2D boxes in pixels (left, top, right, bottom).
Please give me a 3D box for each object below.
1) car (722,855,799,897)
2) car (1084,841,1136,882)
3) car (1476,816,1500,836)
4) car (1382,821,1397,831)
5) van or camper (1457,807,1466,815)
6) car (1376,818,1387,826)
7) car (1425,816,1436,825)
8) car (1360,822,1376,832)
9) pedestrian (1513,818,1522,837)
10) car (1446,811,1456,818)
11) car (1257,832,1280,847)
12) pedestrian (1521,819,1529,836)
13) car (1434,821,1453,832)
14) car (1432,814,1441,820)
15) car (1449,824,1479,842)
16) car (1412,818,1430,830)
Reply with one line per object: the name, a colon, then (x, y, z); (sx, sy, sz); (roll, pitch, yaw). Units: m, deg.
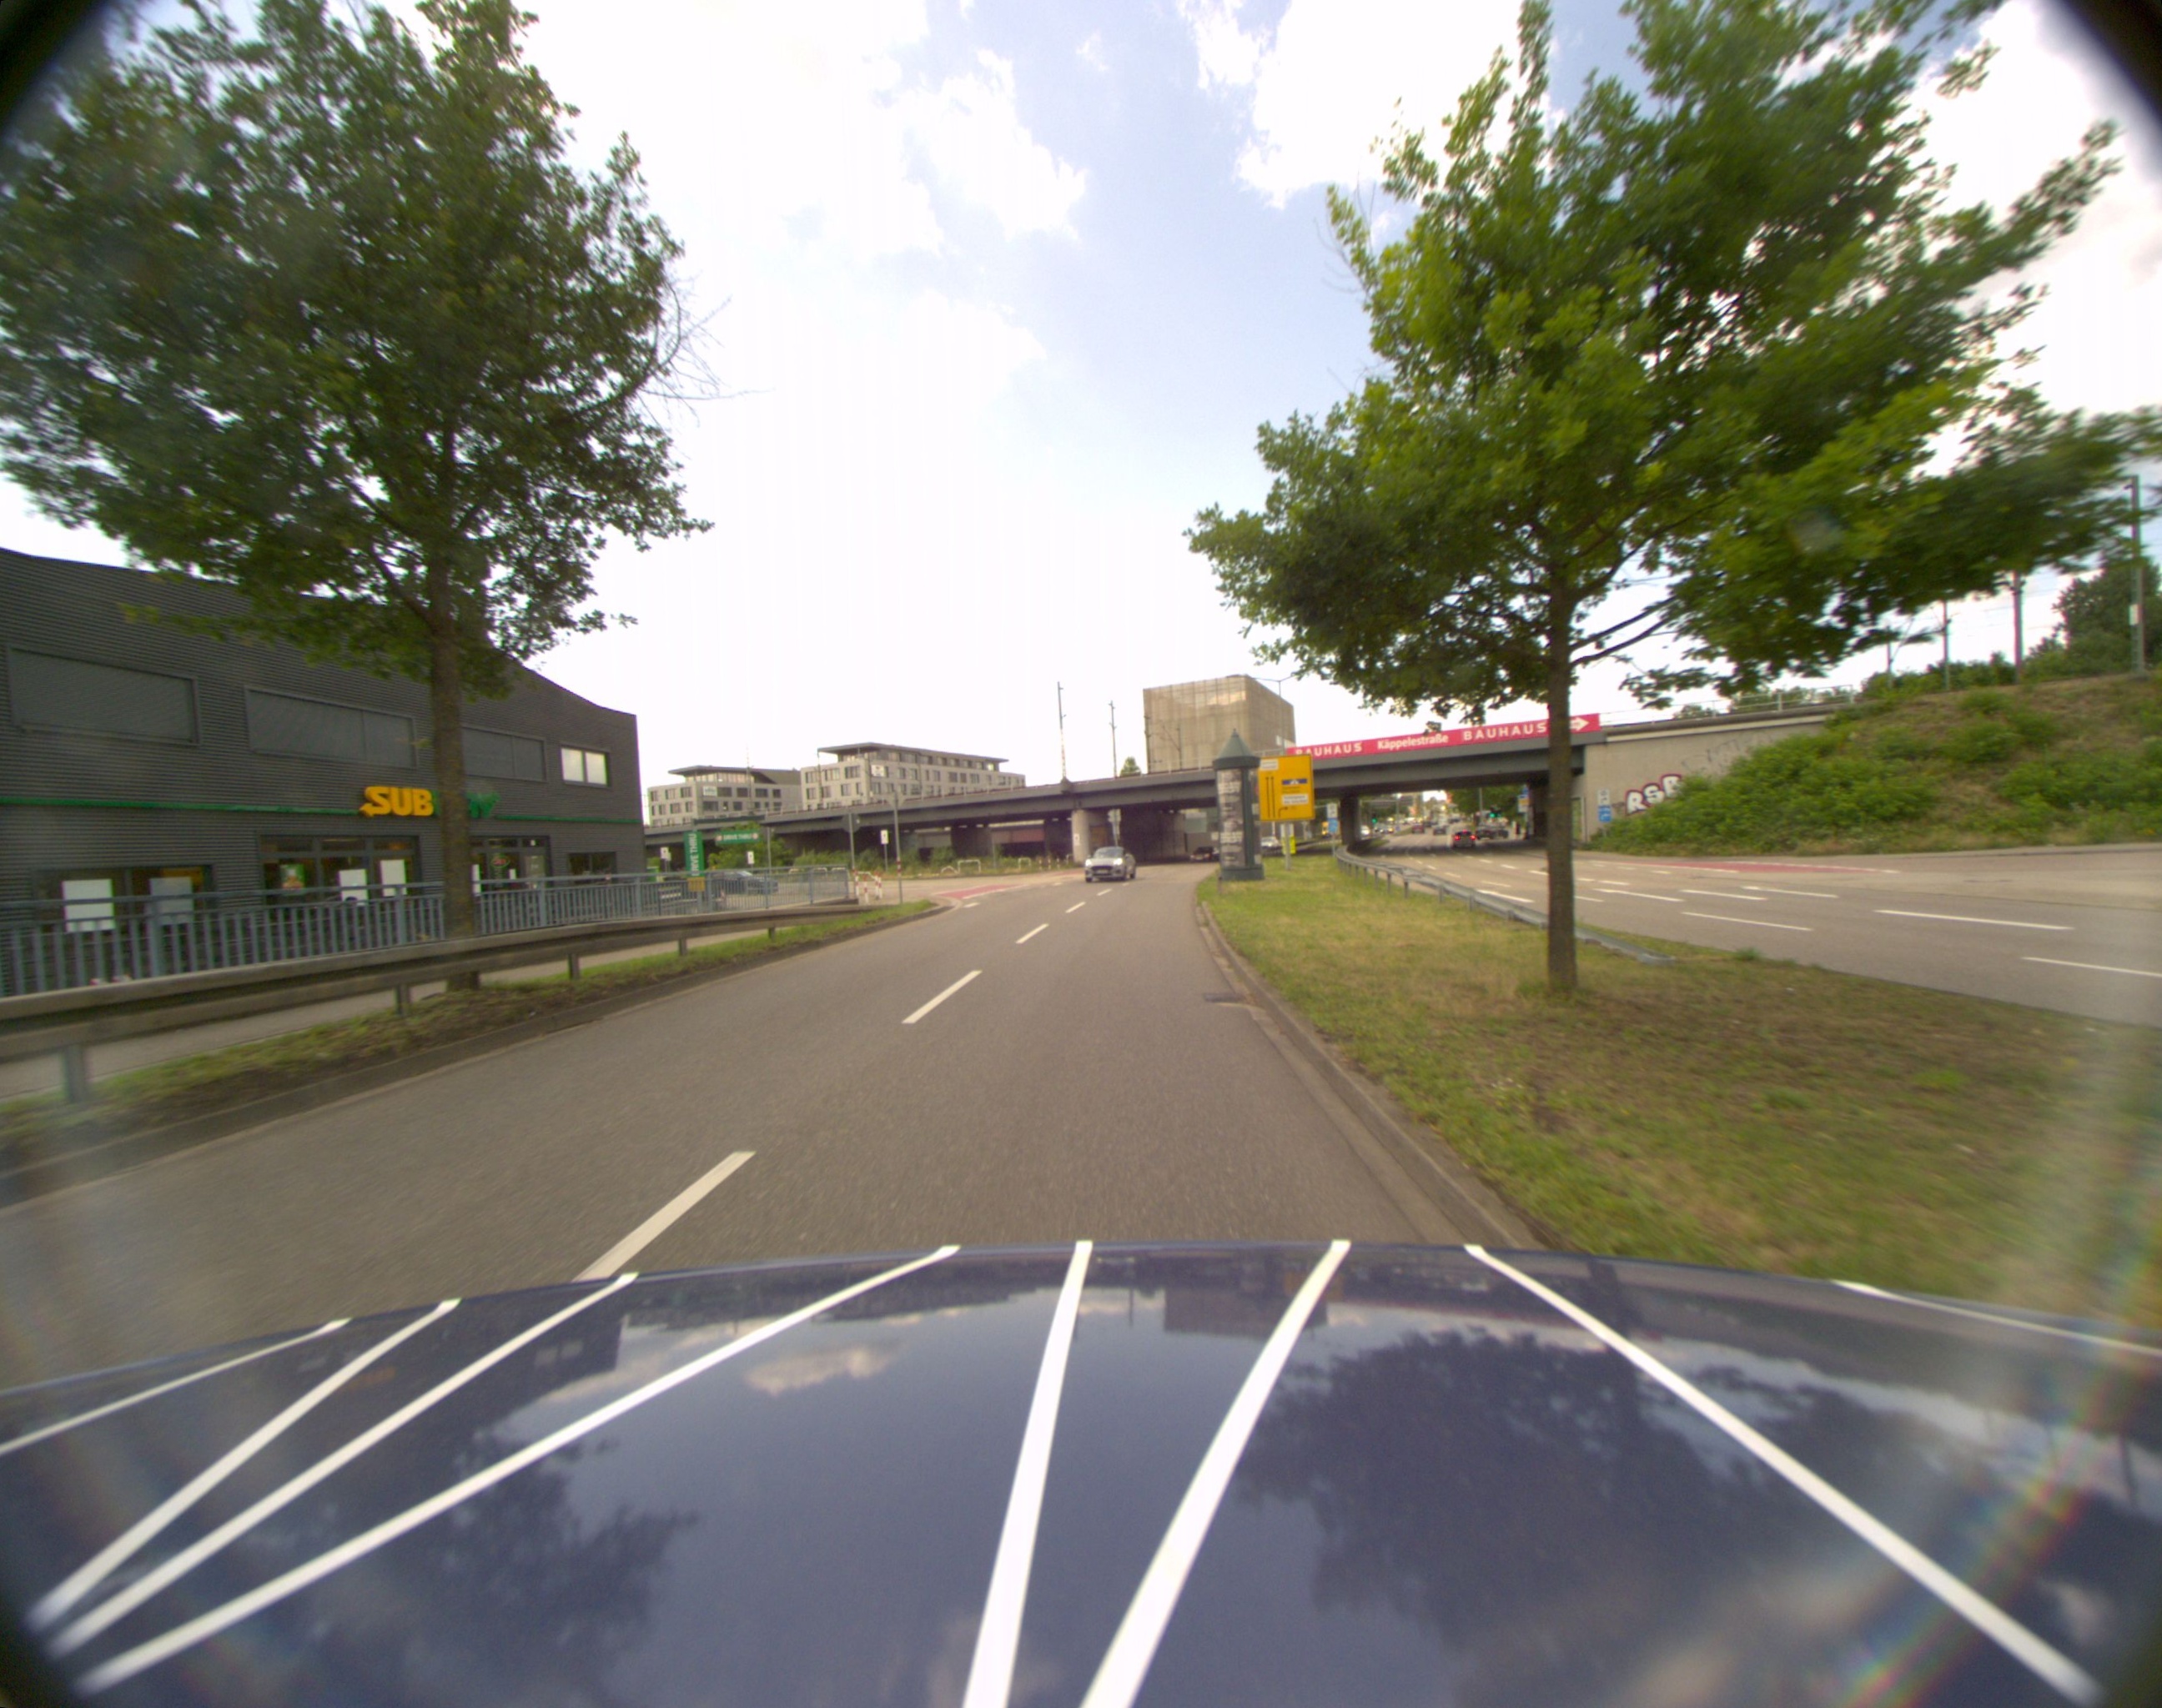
car: (-16.881, 1.169, 40.038); (3.871, 2.002, 1.757); (-2, 2, 33)
car: (1.394, 0.293, 34.764); (1.822, 1.565, 3.956); (-5, 1, 9)
car: (44.372, -3.069, 82.921); (1.995, 2.002, 4.342); (-2, 2, 25)
car: (51.896, -4.739, 127.831); (1.995, 1.407, 4.838); (-4, 1, 27)
van or camper: (118.495, -13.393, 236.671); (2.354, 2.525, 7.073); (-3, 1, 25)
car: (59.424, -6.353, 150.221); (1.779, 1.488, 3.603); (-2, 2, 26)
car: (72.872, -7.074, 158.414); (1.995, 1.749, 4.723); (-2, 2, 25)
car: (46.736, -4.396, 123.747); (1.917, 1.406, 4.301); (-6, 0, 27)
pedestrian: (41.287, -2.509, 71.848); (0.591, 1.671, 0.556); (-2, 2, 24)
car: (94.863, -10.055, 194.853); (1.927, 1.521, 4.005); (-4, 2, 28)
car: (21.598, -1.699, 87.382); (1.710, 1.488, 3.655); (-2, 2, 26)
pedestrian: (41.876, -2.518, 71.607); (0.554, 1.616, 0.587); (-2, 2, 28)
car: (52.310, -3.957, 109.635); (1.949, 1.366, 4.006); (-4, 2, 32)
car: (89.350, -9.201, 190.876); (1.975, 1.381, 4.787); (-1, 2, 26)
car: (33.860, -1.853, 67.306); (1.754, 1.502, 4.004); (-2, 1, 18)
car: (54.381, -4.853, 121.608); (1.995, 1.666, 4.330); (-2, 2, 32)
